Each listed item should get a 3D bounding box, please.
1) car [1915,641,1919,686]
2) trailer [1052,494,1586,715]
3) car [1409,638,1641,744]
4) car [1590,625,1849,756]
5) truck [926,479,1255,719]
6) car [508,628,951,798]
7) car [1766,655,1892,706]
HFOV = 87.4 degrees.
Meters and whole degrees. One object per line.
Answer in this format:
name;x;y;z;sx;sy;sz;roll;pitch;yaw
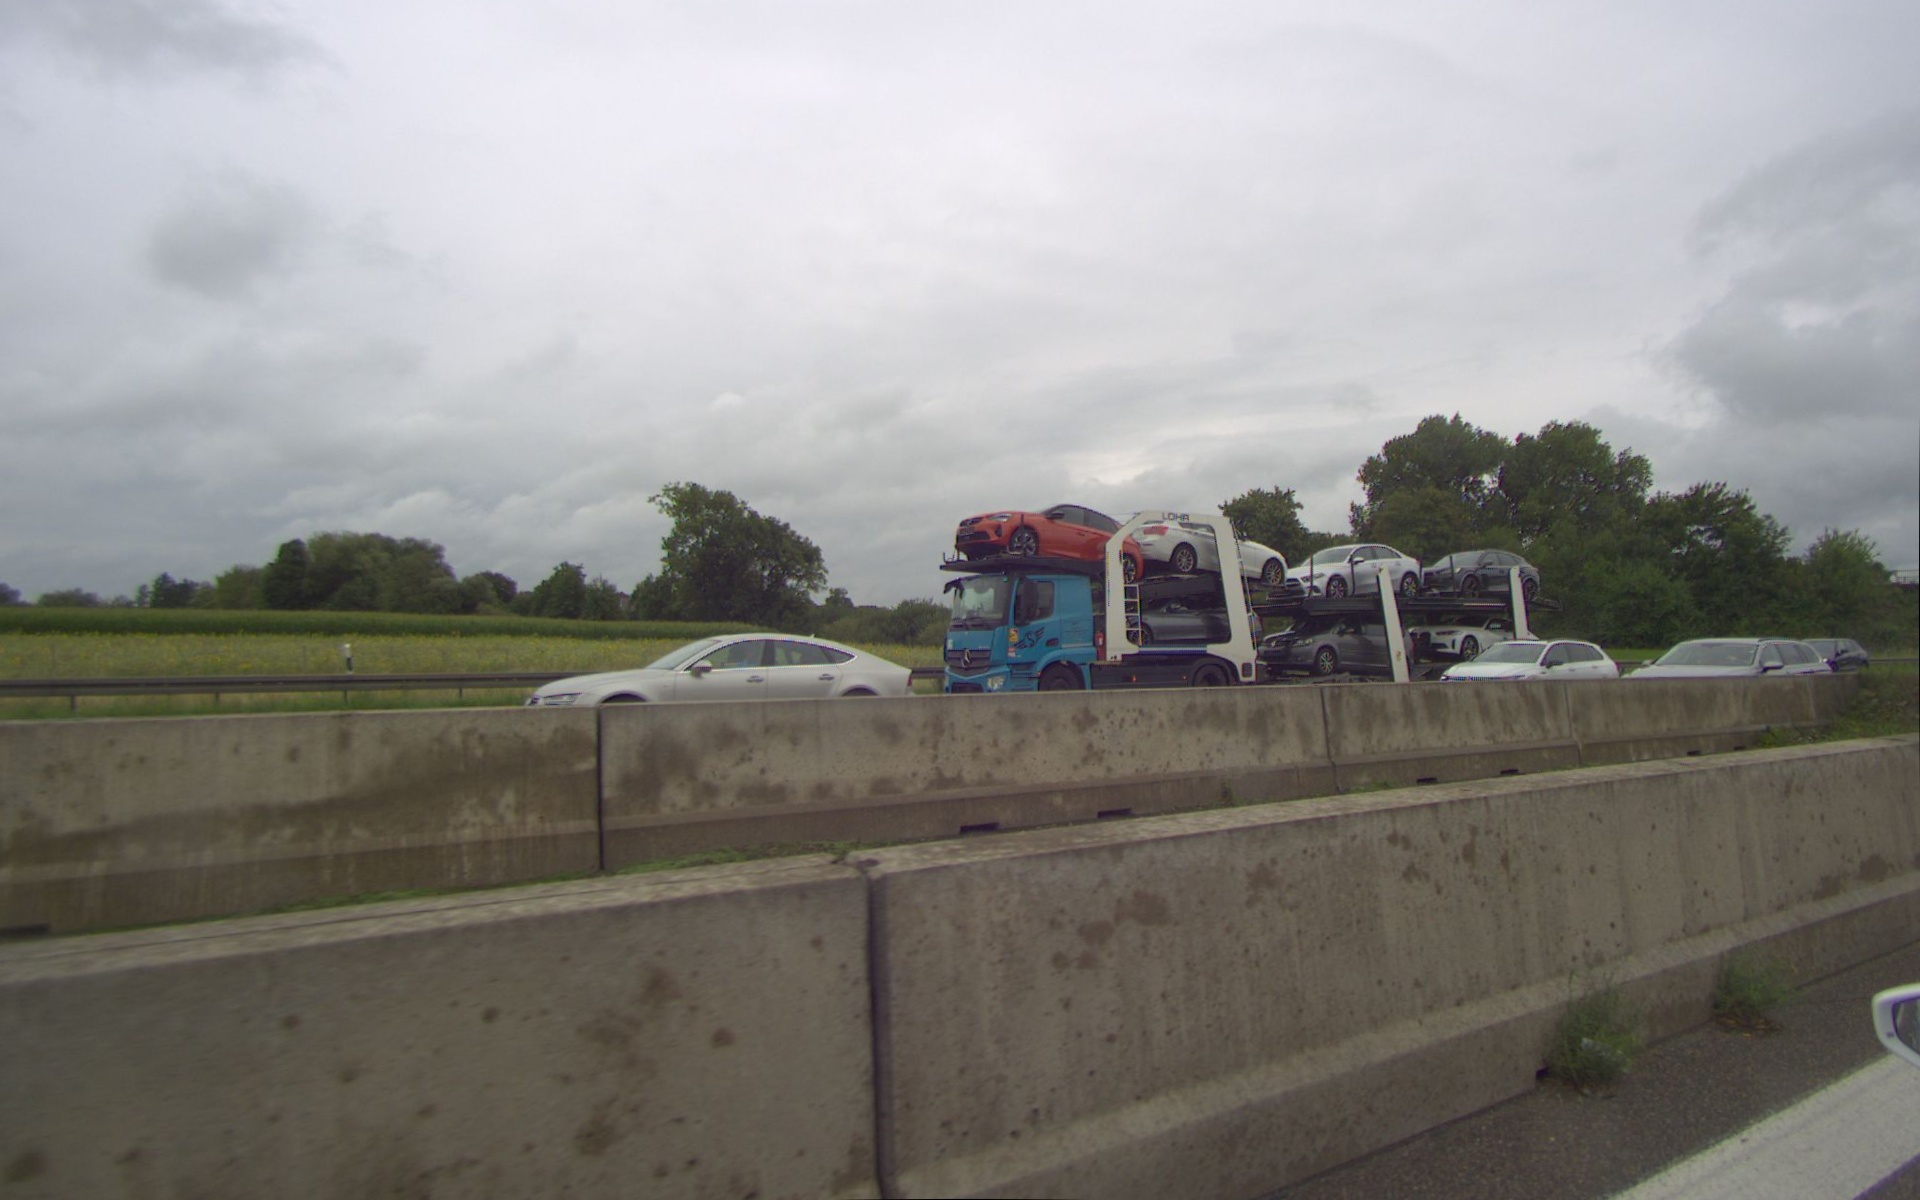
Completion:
car;45.524;2.878;45.688;3.953;2.040;1.984;1;-2;-30
trailer;9.529;0.312;24.752;15.523;4.298;2.984;2;0;-30
car;11.956;1.839;21.164;4.973;1.904;1.984;2;0;-30
car;13.072;1.471;17.236;4.536;1.904;1.918;2;0;-30
truck;2.742;0.053;20.797;6.163;4.298;2.942;2;0;-31
car;-2.837;1.266;12.783;5.107;1.733;2.083;1;-1;-31
car;33.059;3.003;38.185;4.901;1.733;2.084;1;-1;-29
